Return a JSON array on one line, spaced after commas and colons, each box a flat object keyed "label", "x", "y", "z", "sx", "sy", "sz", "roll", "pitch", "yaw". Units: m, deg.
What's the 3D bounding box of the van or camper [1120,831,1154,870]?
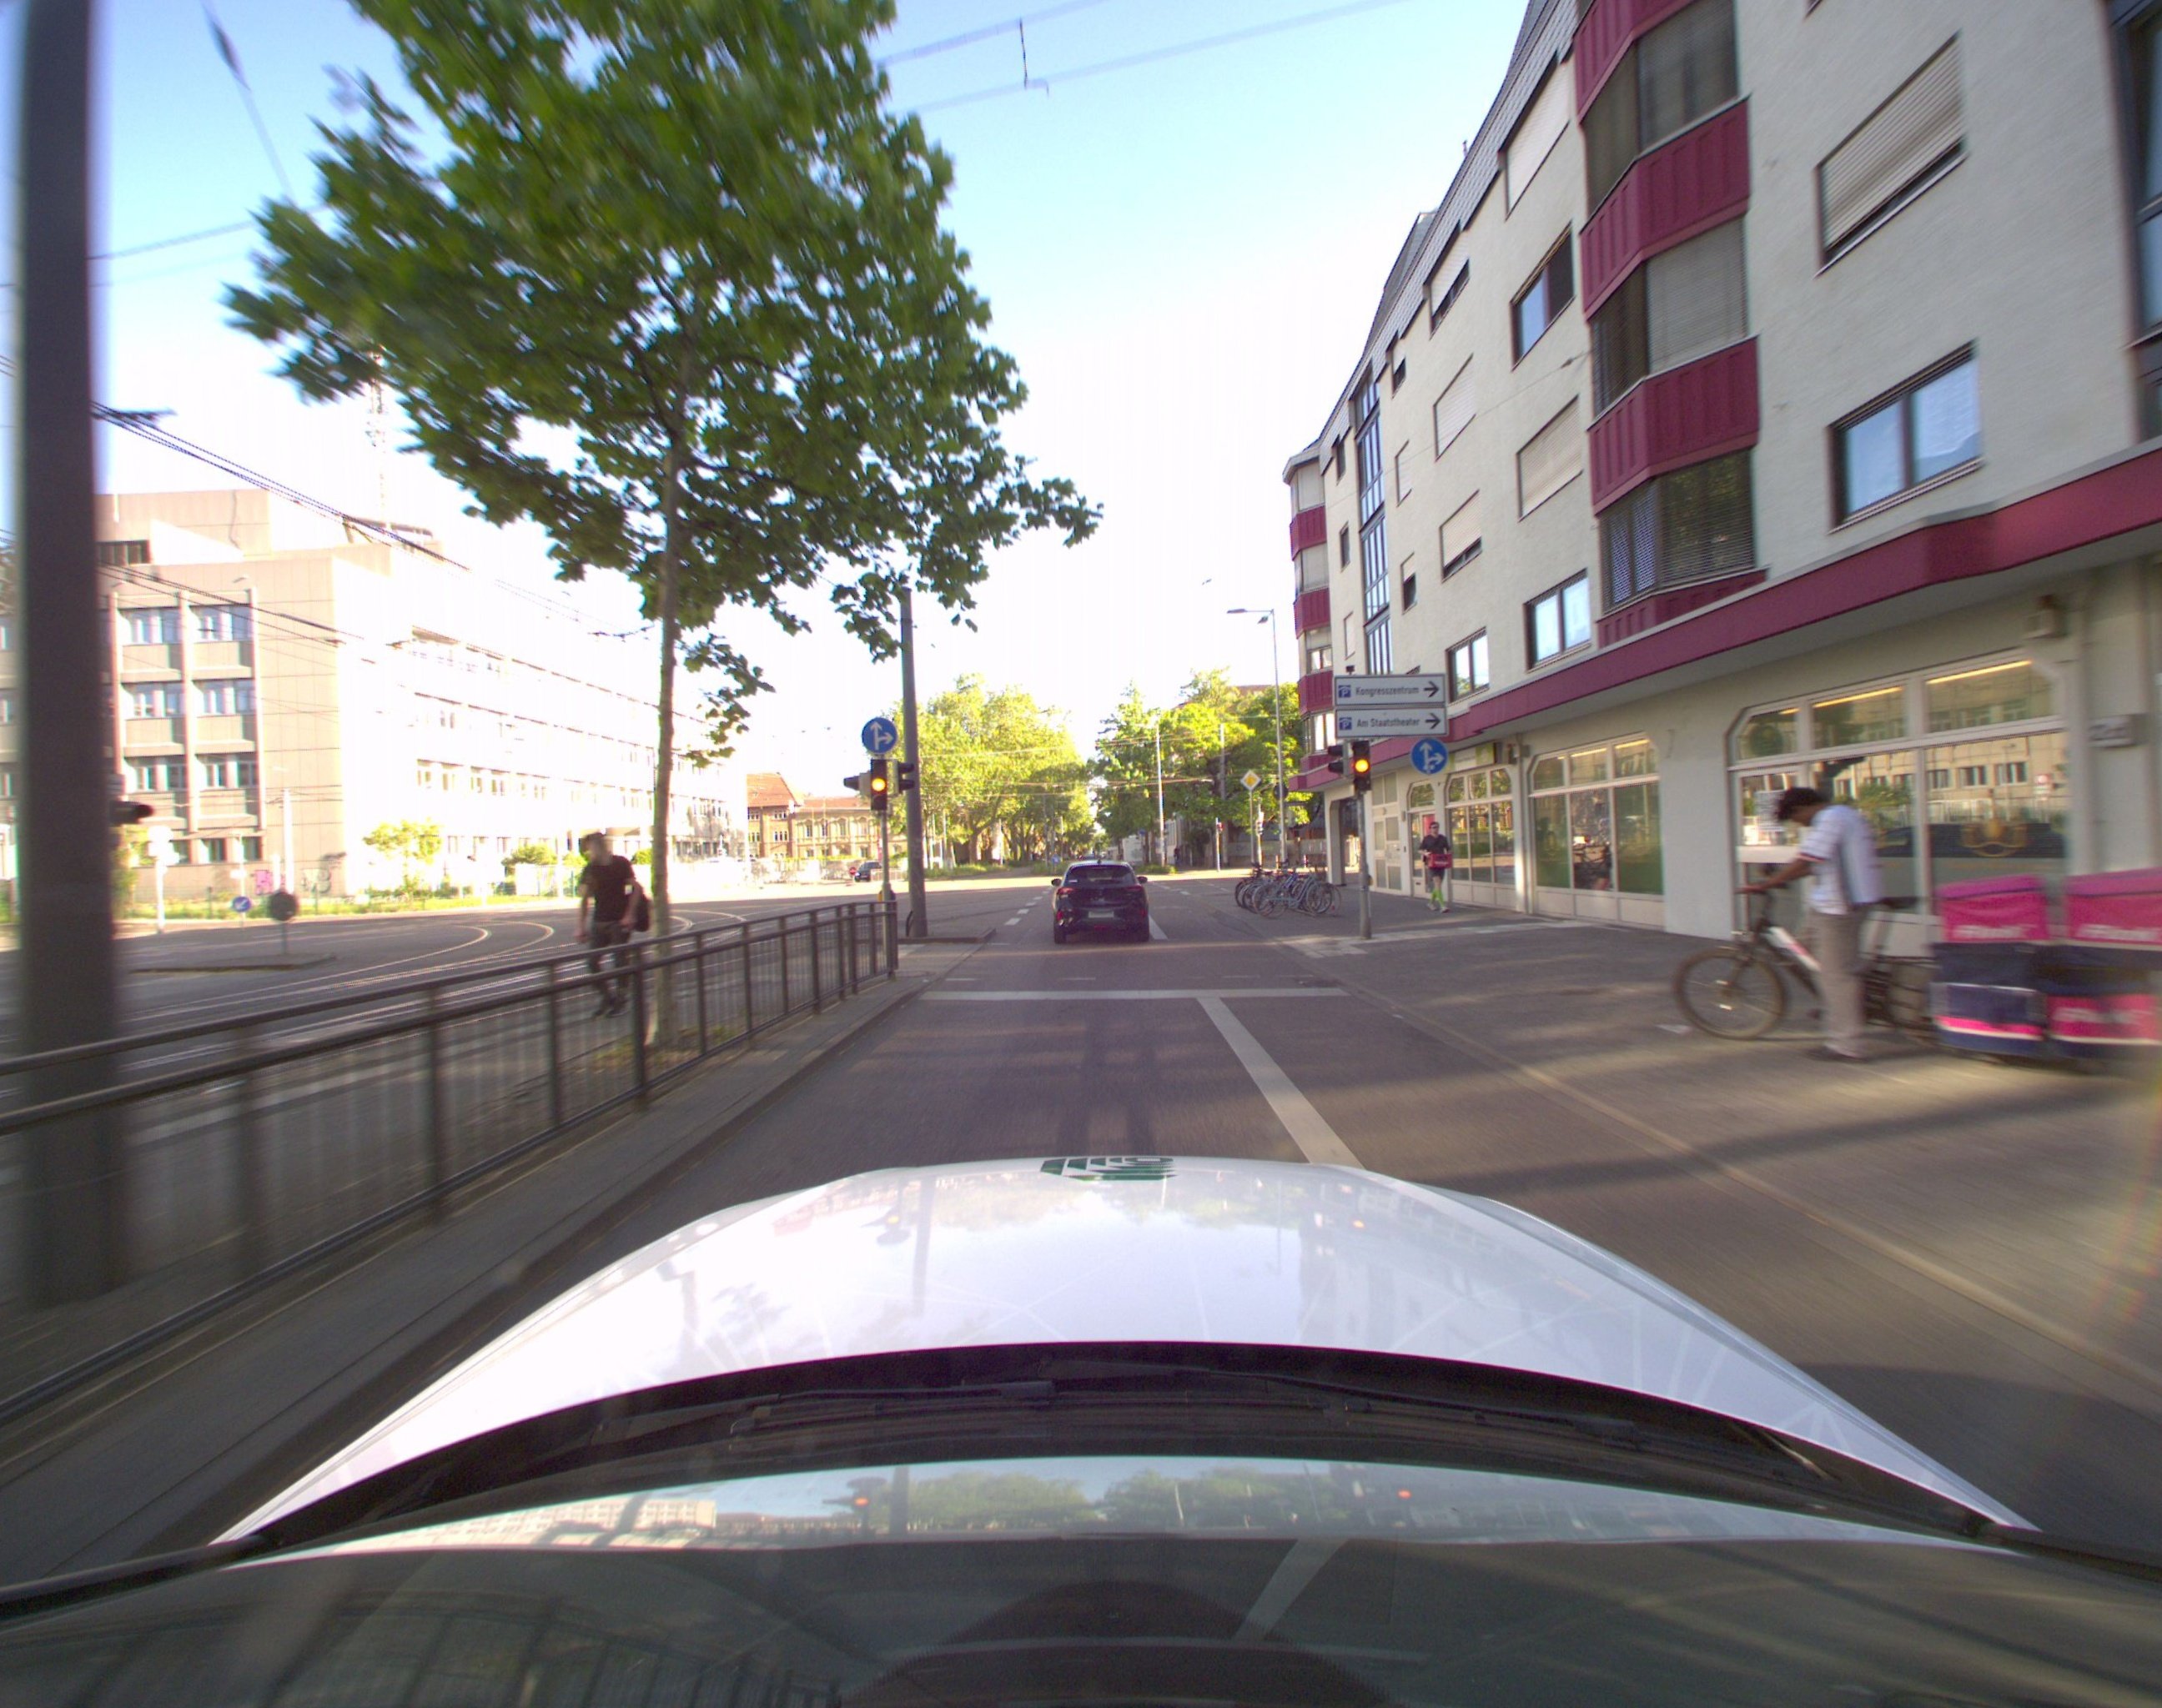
[{"label": "van or camper", "x": 4.993, "y": -0.300, "z": 74.089, "sx": 2.368, "sy": 3.125, "sz": 7.551, "roll": -5, "pitch": 0, "yaw": 1}]

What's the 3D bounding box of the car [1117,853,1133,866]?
[{"label": "car", "x": 5.392, "y": 0.665, "z": 100.972, "sx": 1.783, "sy": 1.510, "sz": 3.875, "roll": -4, "pitch": 0, "yaw": 2}]

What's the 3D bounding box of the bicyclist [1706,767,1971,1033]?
[{"label": "bicyclist", "x": 5.053, "y": 0.262, "z": 5.454, "sx": 1.065, "sy": 1.540, "sz": 1.067, "roll": -2, "pitch": 0, "yaw": -36}]

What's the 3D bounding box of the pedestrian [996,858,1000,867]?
[{"label": "pedestrian", "x": -16.267, "y": 1.681, "z": 160.086, "sx": 0.656, "sy": 1.622, "sz": 0.615, "roll": 0, "pitch": 0, "yaw": 0}]

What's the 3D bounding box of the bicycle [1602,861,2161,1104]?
[{"label": "bicycle", "x": 5.104, "y": 0.683, "z": 5.401, "sx": 0.967, "sy": 1.183, "sz": 2.569, "roll": -2, "pitch": 0, "yaw": -36}]

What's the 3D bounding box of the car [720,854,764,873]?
[{"label": "car", "x": -33.131, "y": 0.938, "z": 79.735, "sx": 1.983, "sy": 1.703, "sz": 4.386, "roll": -3, "pitch": 0, "yaw": 6}]

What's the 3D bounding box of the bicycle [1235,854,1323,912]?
[{"label": "bicycle", "x": 4.450, "y": 0.647, "z": 18.390, "sx": 1.822, "sy": 1.221, "sz": 0.497, "roll": -2, "pitch": 0, "yaw": 4}]

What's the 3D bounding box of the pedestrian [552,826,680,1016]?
[{"label": "pedestrian", "x": -4.483, "y": 0.620, "z": 7.898, "sx": 0.730, "sy": 1.746, "sz": 0.713, "roll": -2, "pitch": 0, "yaw": 6}]

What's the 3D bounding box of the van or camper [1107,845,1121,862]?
[{"label": "van or camper", "x": 5.916, "y": -0.127, "z": 147.414, "sx": 2.476, "sy": 2.993, "sz": 5.437, "roll": -1, "pitch": 0, "yaw": 2}]

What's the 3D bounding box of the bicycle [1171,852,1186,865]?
[{"label": "bicycle", "x": 8.192, "y": 0.371, "z": 68.420, "sx": 0.639, "sy": 1.070, "sz": 1.944, "roll": -2, "pitch": 0, "yaw": -10}]

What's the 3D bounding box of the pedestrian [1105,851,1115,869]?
[{"label": "pedestrian", "x": 3.388, "y": 0.676, "z": 94.762, "sx": 1.032, "sy": 2.024, "sz": 1.212, "roll": -2, "pitch": 0, "yaw": 0}]

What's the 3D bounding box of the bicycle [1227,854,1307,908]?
[{"label": "bicycle", "x": 4.476, "y": 0.650, "z": 19.708, "sx": 1.793, "sy": 1.199, "sz": 0.546, "roll": -3, "pitch": -1, "yaw": 6}]

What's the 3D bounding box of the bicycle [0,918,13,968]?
[{"label": "bicycle", "x": -27.027, "y": 2.187, "z": 19.346, "sx": 2.040, "sy": 1.189, "sz": 0.587, "roll": -2, "pitch": 0, "yaw": -16}]

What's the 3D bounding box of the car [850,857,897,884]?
[{"label": "car", "x": -16.263, "y": 1.263, "z": 63.974, "sx": 1.982, "sy": 1.947, "sz": 4.434, "roll": -2, "pitch": 0, "yaw": 8}]

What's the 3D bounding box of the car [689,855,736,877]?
[{"label": "car", "x": -36.051, "y": 1.134, "z": 79.851, "sx": 1.983, "sy": 2.013, "sz": 4.733, "roll": -3, "pitch": 0, "yaw": 6}]

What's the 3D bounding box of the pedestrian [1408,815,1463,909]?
[{"label": "pedestrian", "x": 7.250, "y": 0.162, "z": 16.691, "sx": 0.720, "sy": 1.857, "sz": 0.801, "roll": -3, "pitch": 0, "yaw": 1}]

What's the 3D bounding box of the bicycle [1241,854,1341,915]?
[{"label": "bicycle", "x": 4.501, "y": 0.635, "z": 17.508, "sx": 1.972, "sy": 1.199, "sz": 0.590, "roll": -3, "pitch": 0, "yaw": -3}]

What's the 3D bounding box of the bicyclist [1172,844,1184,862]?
[{"label": "bicyclist", "x": 8.164, "y": -0.058, "z": 68.467, "sx": 0.749, "sy": 1.510, "sz": 0.699, "roll": -2, "pitch": 0, "yaw": -11}]

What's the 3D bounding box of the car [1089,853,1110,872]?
[{"label": "car", "x": 1.696, "y": 0.769, "z": 75.622, "sx": 1.826, "sy": 1.622, "sz": 4.285, "roll": -1, "pitch": 0, "yaw": 1}]

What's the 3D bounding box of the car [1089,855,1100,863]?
[{"label": "car", "x": 2.680, "y": 0.955, "z": 158.308, "sx": 1.897, "sy": 1.425, "sz": 4.218, "roll": -2, "pitch": 0, "yaw": 2}]

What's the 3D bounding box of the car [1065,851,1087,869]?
[{"label": "car", "x": -0.467, "y": 0.545, "z": 78.193, "sx": 1.987, "sy": 1.627, "sz": 4.470, "roll": 0, "pitch": 0, "yaw": 1}]

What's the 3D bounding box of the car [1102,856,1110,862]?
[{"label": "car", "x": 6.250, "y": 1.179, "z": 204.844, "sx": 1.897, "sy": 1.425, "sz": 4.218, "roll": -2, "pitch": 0, "yaw": 2}]

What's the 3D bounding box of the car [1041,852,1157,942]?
[{"label": "car", "x": 0.393, "y": 0.715, "z": 15.743, "sx": 1.897, "sy": 1.425, "sz": 4.218, "roll": -2, "pitch": 0, "yaw": 2}]

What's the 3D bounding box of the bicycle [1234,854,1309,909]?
[{"label": "bicycle", "x": 4.421, "y": 0.642, "z": 18.962, "sx": 1.614, "sy": 1.199, "sz": 0.497, "roll": -3, "pitch": 0, "yaw": 6}]

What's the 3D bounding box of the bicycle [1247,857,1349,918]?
[{"label": "bicycle", "x": 4.482, "y": 0.681, "z": 16.888, "sx": 1.935, "sy": 1.170, "sz": 0.572, "roll": -3, "pitch": 0, "yaw": -2}]
